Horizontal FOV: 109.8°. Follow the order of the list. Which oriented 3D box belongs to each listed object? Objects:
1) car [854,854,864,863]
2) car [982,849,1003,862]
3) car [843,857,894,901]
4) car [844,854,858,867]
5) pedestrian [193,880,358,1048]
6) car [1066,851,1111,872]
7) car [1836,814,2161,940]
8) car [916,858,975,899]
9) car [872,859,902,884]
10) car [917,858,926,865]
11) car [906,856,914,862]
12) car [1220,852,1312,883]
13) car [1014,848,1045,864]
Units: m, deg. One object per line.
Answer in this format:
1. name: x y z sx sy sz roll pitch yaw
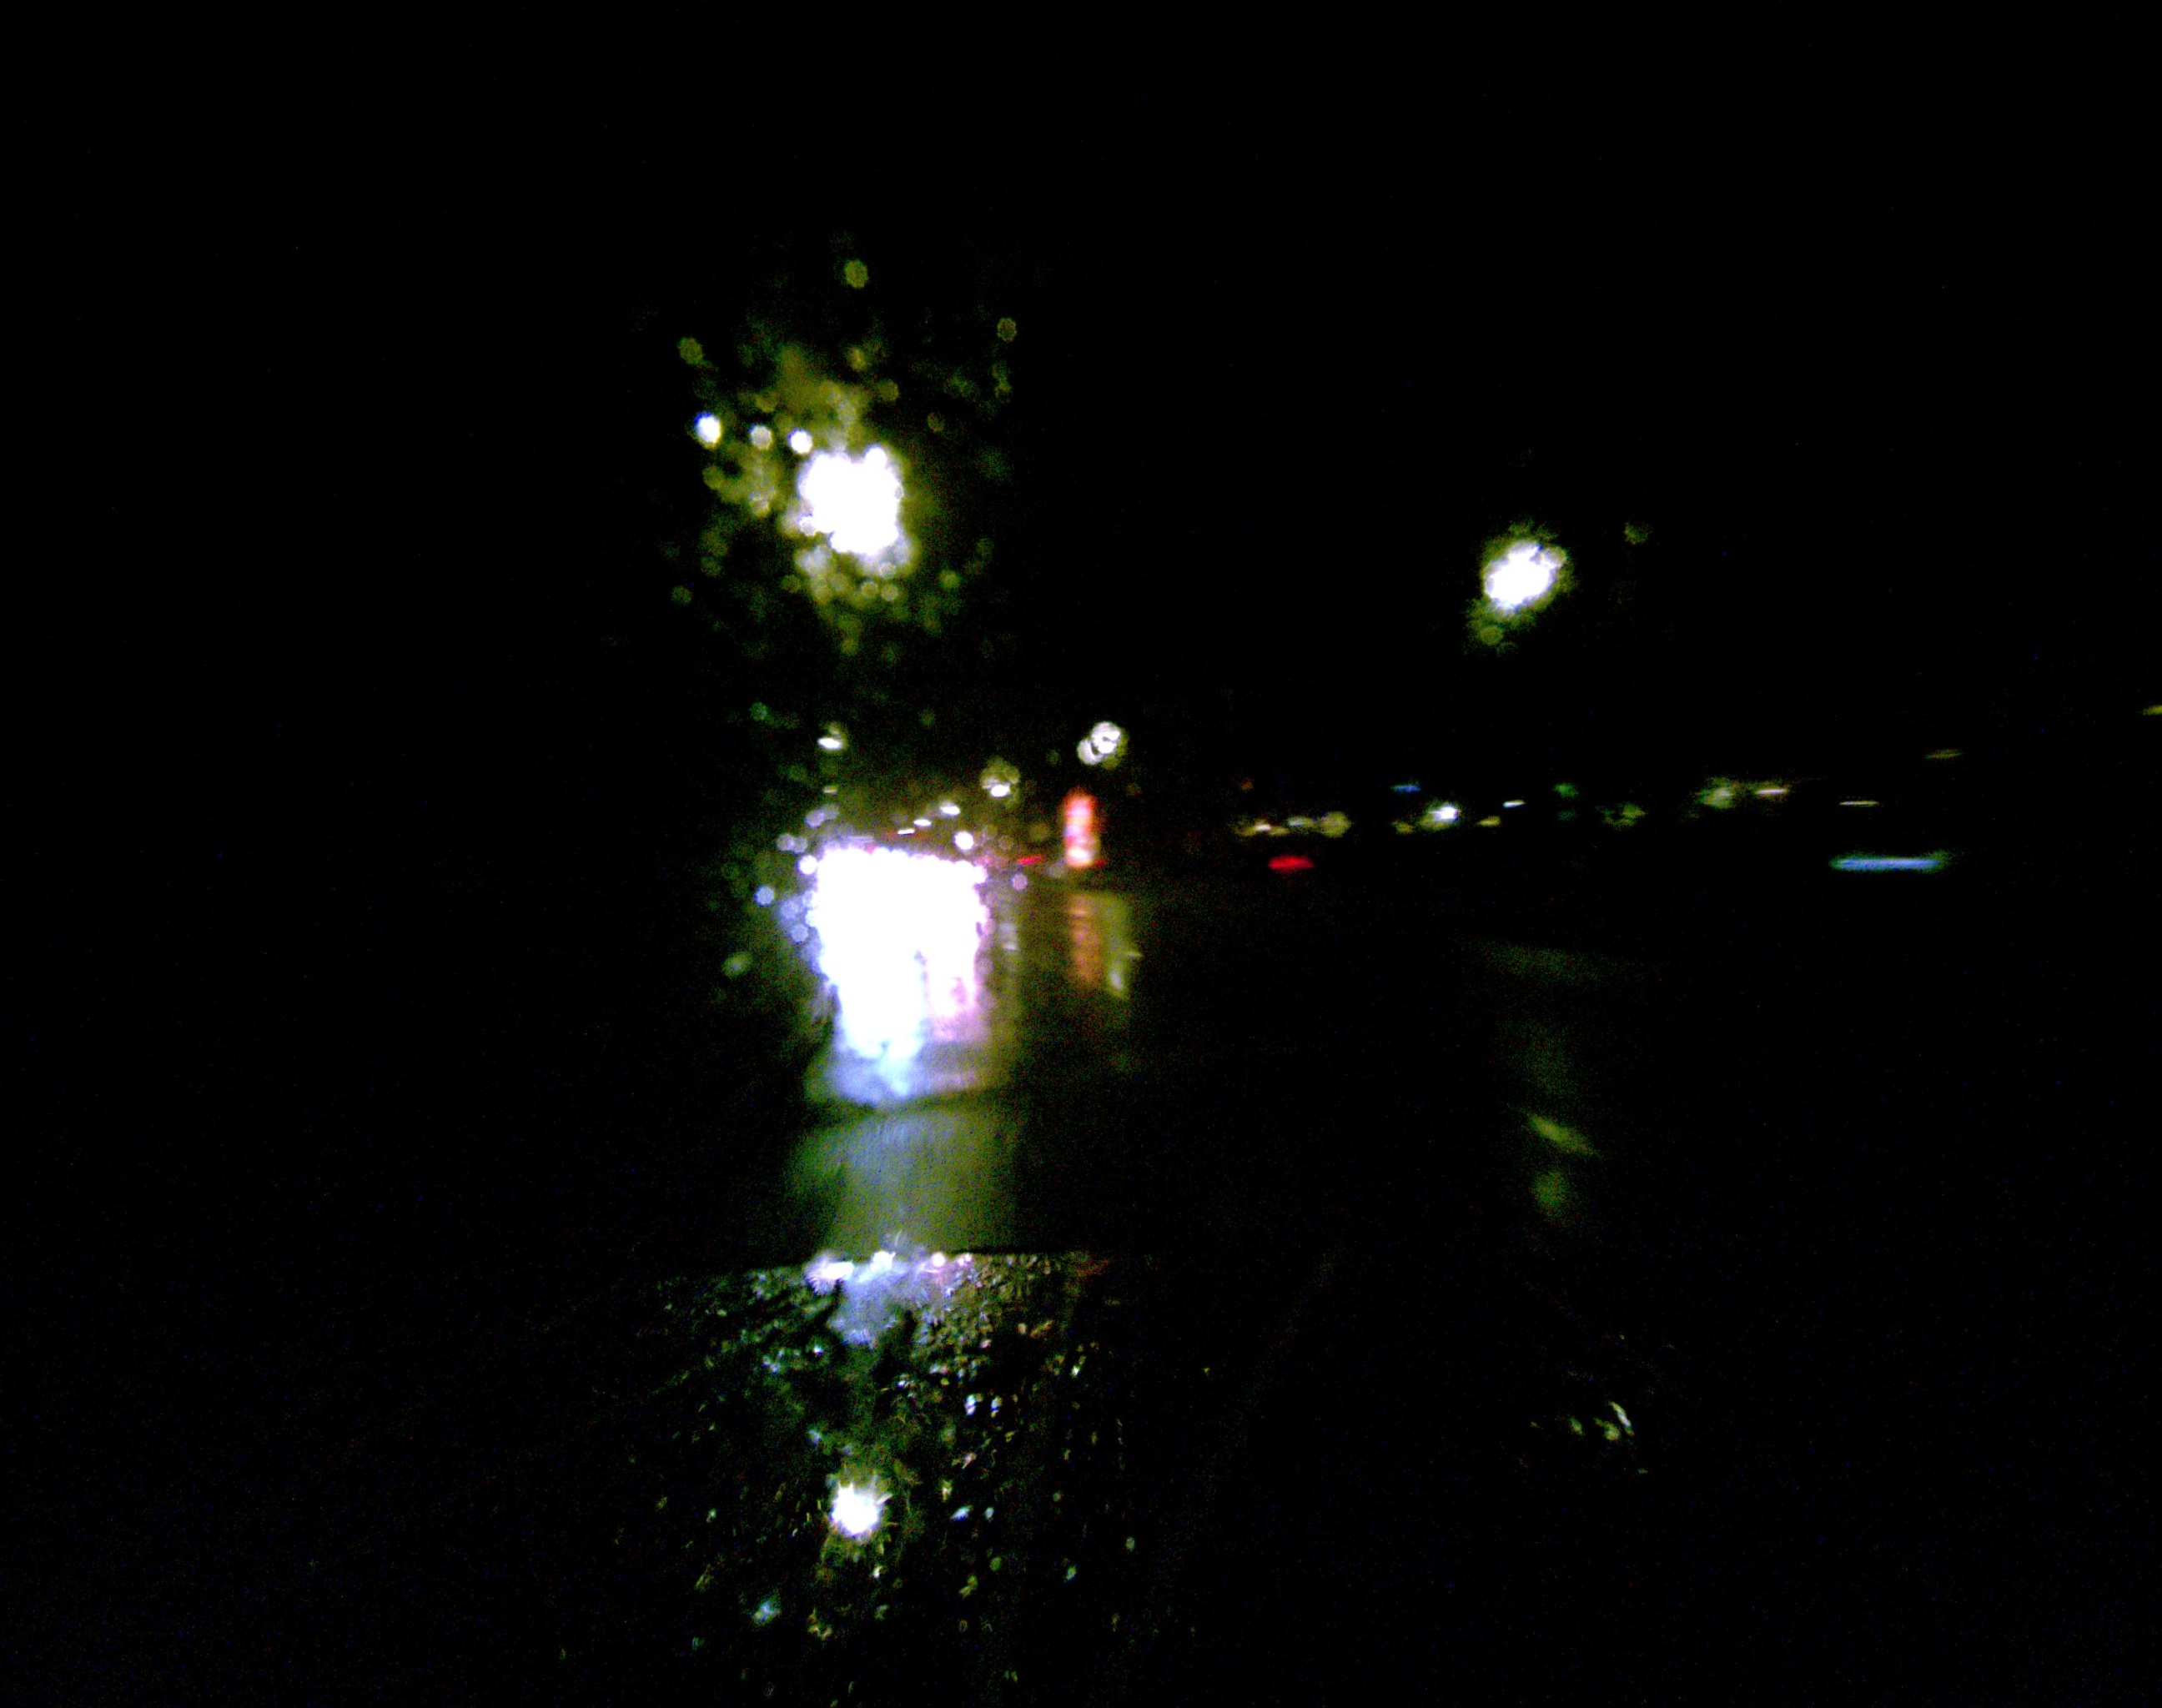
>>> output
1. car: -44.446 0.941 151.990 1.836 1.696 3.942 -3 1 -18
2. car: -12.271 0.223 105.133 1.836 1.704 4.433 -3 1 -18
3. car: -9.486 1.034 33.691 1.953 1.709 4.435 -3 1 -18
4. car: -33.780 0.962 111.584 1.836 1.696 3.942 -3 1 -18
5. pedestrian: -7.892 1.032 7.497 0.728 1.477 0.834 -3 1 -18
6. car: 0.536 0.553 57.871 1.836 1.456 4.651 -3 1 -20
7. car: 15.595 0.299 11.828 2.072 1.706 5.030 -4 1 -26
8. car: -6.051 1.009 33.459 1.836 1.518 4.867 -3 1 -18
9. car: -14.797 1.279 57.748 1.836 1.696 4.187 -3 1 -18
10. car: -41.240 1.910 196.642 1.850 1.583 4.359 -3 1 -17
11. car: -49.353 1.411 219.291 1.850 1.583 4.359 -3 1 -17
12. car: 9.461 0.672 39.487 2.001 1.394 5.341 -3 1 -19
13. car: -4.941 0.196 72.499 1.836 1.456 3.993 -3 1 -20
